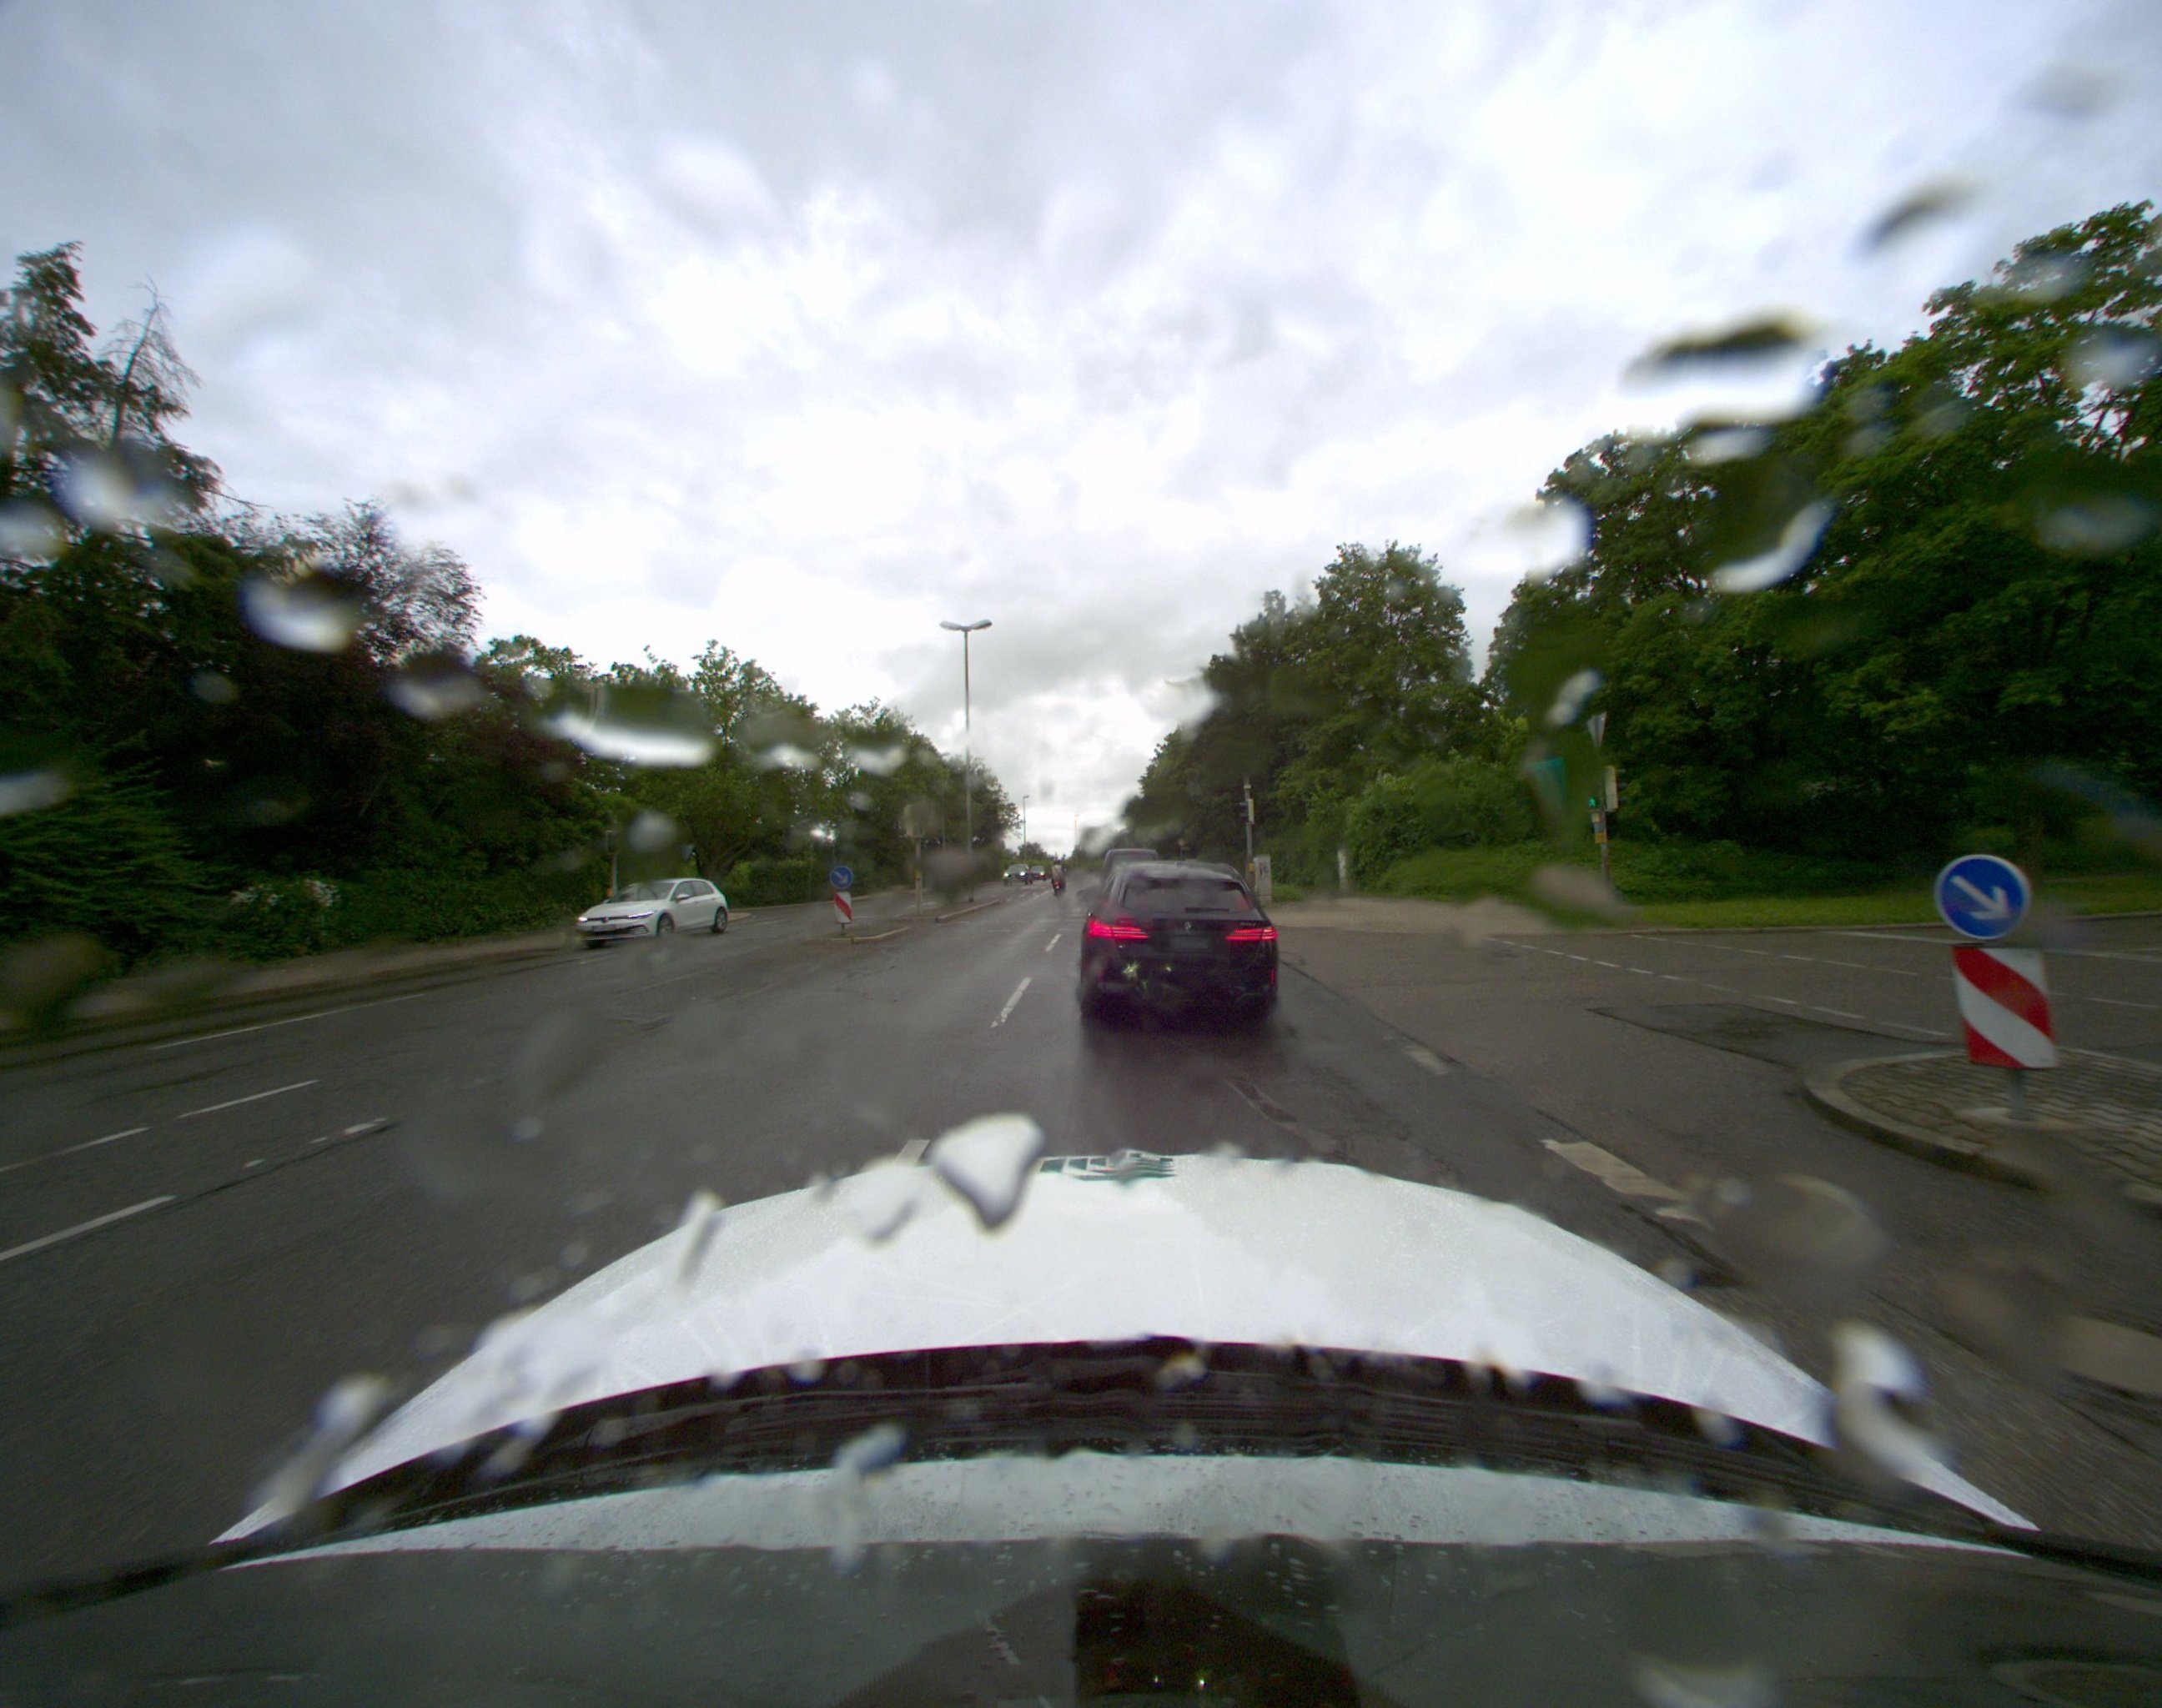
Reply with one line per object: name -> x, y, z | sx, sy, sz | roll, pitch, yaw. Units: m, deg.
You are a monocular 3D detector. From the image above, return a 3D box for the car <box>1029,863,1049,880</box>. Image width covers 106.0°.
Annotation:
car -> -4.417, 1.809, 85.804 | 1.788, 1.603, 3.733 | -3, -1, 1

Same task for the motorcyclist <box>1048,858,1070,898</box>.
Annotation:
motorcyclist -> -0.912, 0.986, 33.714 | 0.842, 1.647, 0.468 | -2, 0, 3

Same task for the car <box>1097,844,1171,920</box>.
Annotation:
car -> 1.401, 0.661, 21.679 | 1.759, 1.810, 3.909 | -1, 0, 3

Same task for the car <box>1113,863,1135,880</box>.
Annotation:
car -> 3.981, 1.629, 76.311 | 2.007, 1.415, 4.489 | -1, 0, 2

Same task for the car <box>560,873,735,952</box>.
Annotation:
car -> -10.116, 1.292, 19.404 | 1.721, 1.485, 4.159 | -4, 0, 2

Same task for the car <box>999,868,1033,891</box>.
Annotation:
car -> -4.894, 1.919, 61.625 | 2.017, 1.563, 3.879 | -3, -1, 2

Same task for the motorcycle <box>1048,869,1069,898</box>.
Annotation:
motorcycle -> -0.932, 1.216, 33.673 | 0.738, 1.119, 1.428 | -1, 0, 3

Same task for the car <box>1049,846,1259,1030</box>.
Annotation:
car -> 0.726, 0.733, 8.777 | 1.757, 1.536, 3.676 | -1, -1, 3
